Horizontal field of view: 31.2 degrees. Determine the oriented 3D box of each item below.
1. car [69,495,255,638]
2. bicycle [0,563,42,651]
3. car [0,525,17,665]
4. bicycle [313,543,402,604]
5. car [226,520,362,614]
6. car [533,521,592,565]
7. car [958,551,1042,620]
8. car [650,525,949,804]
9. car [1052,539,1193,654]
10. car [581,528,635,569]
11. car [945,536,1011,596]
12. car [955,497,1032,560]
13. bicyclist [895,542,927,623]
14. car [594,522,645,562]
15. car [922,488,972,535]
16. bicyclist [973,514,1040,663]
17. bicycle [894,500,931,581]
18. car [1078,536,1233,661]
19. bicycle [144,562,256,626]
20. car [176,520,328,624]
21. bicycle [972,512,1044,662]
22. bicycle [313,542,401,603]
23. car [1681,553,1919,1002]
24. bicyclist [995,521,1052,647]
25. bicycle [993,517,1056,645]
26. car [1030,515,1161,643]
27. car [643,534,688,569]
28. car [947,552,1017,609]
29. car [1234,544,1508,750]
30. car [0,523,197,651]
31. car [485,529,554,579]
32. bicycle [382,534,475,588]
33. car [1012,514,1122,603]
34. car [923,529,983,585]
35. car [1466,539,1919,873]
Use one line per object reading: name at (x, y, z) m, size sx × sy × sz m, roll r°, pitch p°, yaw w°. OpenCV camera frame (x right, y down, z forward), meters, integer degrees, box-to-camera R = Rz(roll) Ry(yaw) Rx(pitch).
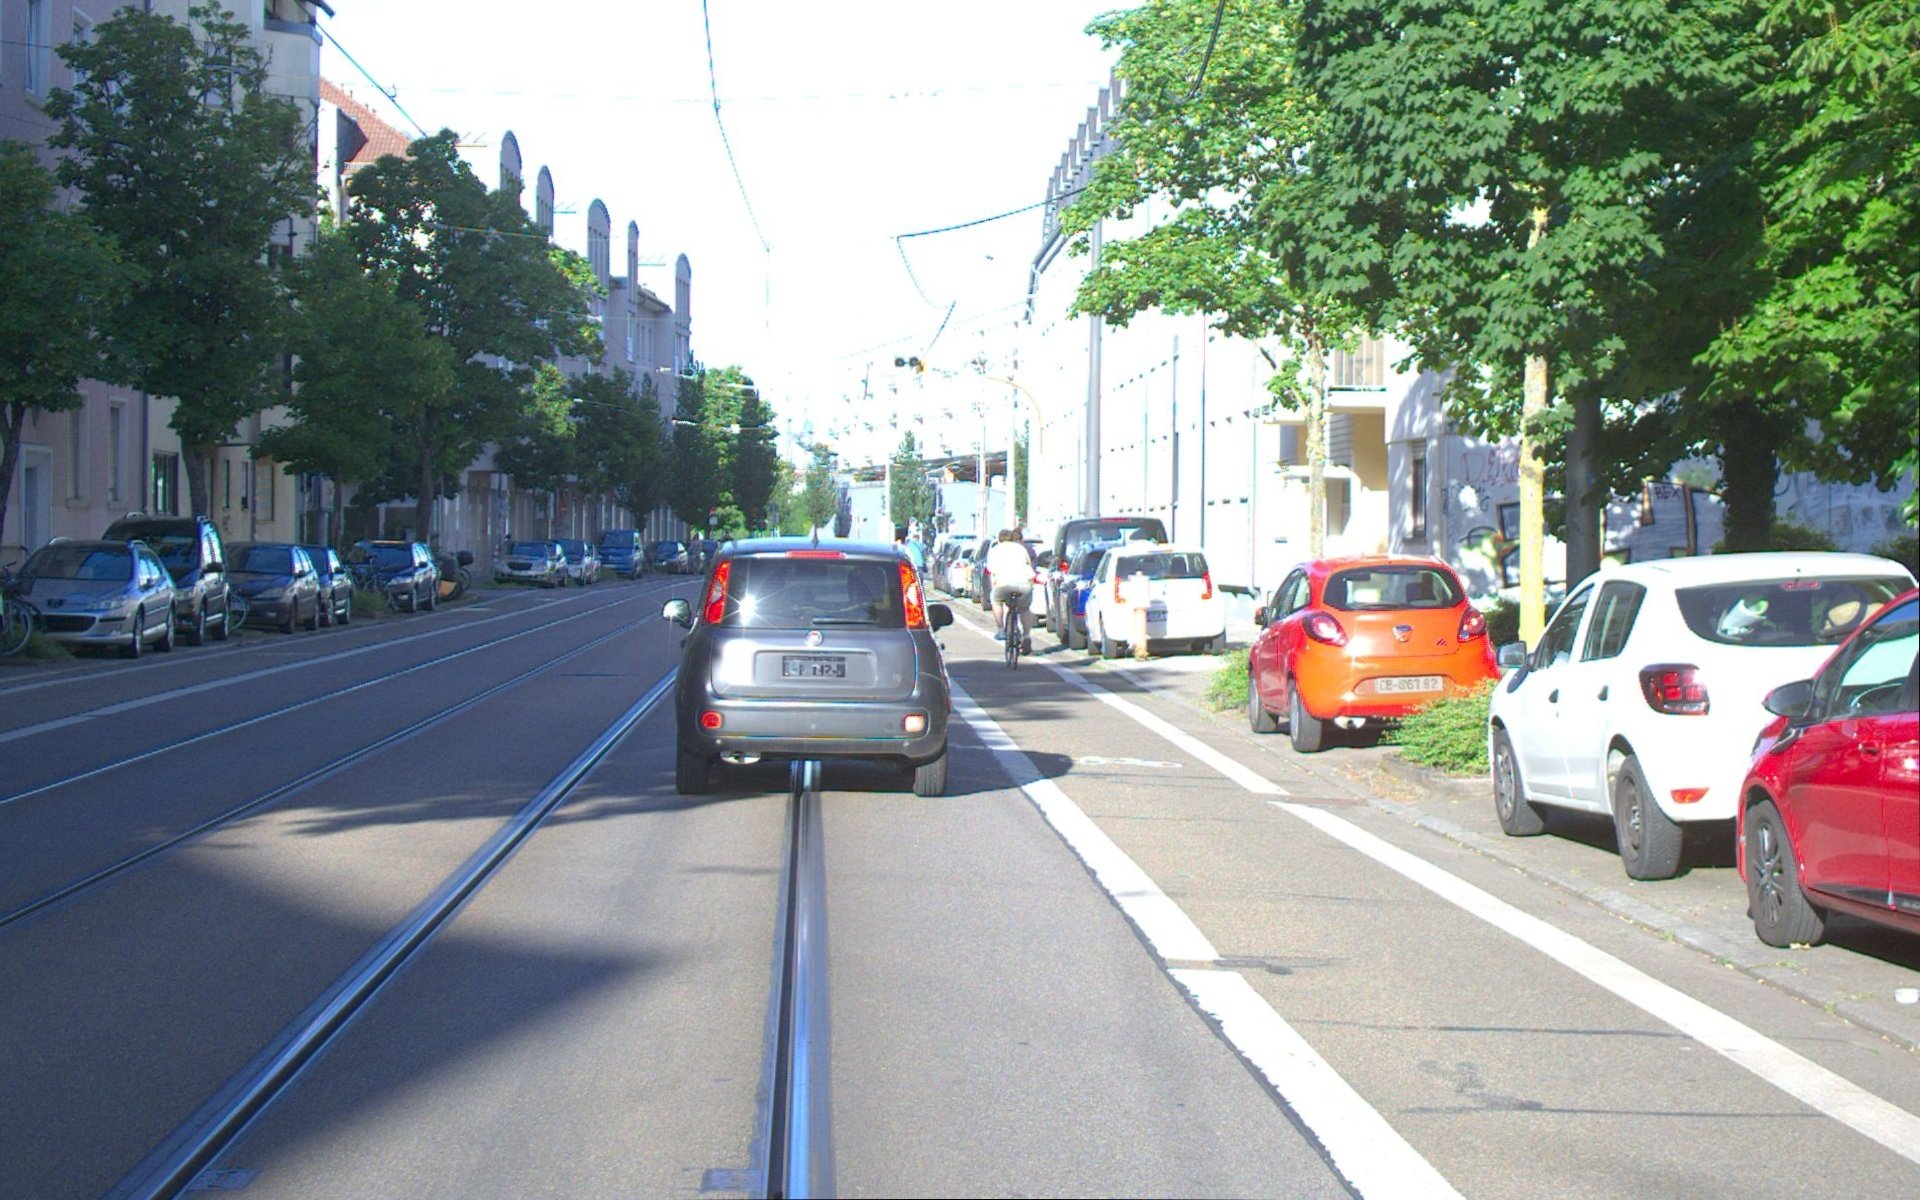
car at (-11.559, -0.512, 50.057) m, size 1.808 × 1.937 × 4.334 m, roll 2°, pitch 1°, yaw -2°
bicycle at (-11.529, 0.061, 39.747) m, size 1.666 × 0.998 × 0.476 m, roll 2°, pitch 1°, yaw 1°
car at (-11.146, -0.050, 35.472) m, size 1.808 × 1.503 × 4.192 m, roll 2°, pitch 1°, yaw -2°
bicycle at (-12.271, -0.543, 69.984) m, size 1.728 × 1.192 × 0.372 m, roll 2°, pitch 1°, yaw -6°
car at (-12.126, -0.623, 62.782) m, size 1.808 × 1.614 × 4.065 m, roll 2°, pitch 1°, yaw -2°
car at (-14.108, -2.027, 122.130) m, size 1.707 × 1.491 × 3.722 m, roll 2°, pitch 1°, yaw -1°
car at (0.861, -0.339, 76.456) m, size 1.583 × 1.400 × 3.377 m, roll -3°, pitch 1°, yaw -3°
car at (-1.018, 0.323, 21.633) m, size 1.650 × 1.536 × 4.235 m, roll 2°, pitch 1°, yaw -3°
car at (2.344, -0.086, 50.479) m, size 1.655 × 1.566 × 3.876 m, roll 2°, pitch 1°, yaw -3°
car at (-13.409, -1.986, 131.199) m, size 1.707 × 1.491 × 3.722 m, roll 2°, pitch 1°, yaw -1°
car at (0.492, -0.954, 95.244) m, size 1.583 × 1.593 × 3.377 m, roll 2°, pitch 1°, yaw -3°
car at (0.773, -1.704, 82.077) m, size 1.583 × 1.400 × 3.377 m, roll 2°, pitch 1°, yaw -3°
bicyclist at (-1.248, -0.451, 87.509) m, size 0.715 × 2.007 × 0.832 m, roll 2°, pitch 1°, yaw -3°
car at (-13.453, -2.298, 136.052) m, size 1.707 × 1.491 × 3.722 m, roll 2°, pitch 1°, yaw -1°
car at (-0.473, -3.147, 122.678) m, size 1.583 × 1.593 × 3.377 m, roll 2°, pitch 1°, yaw -3°
bicyclist at (0.558, -0.146, 41.480) m, size 0.699 × 1.753 × 0.758 m, roll 2°, pitch 1°, yaw -3°
bicycle at (-1.217, -1.515, 87.476) m, size 0.741 × 2.007 × 2.812 m, roll 2°, pitch 1°, yaw -3°
car at (2.581, -0.051, 46.053) m, size 1.655 × 1.566 × 3.499 m, roll 2°, pitch 1°, yaw -3°
bicycle at (-11.831, -0.091, 53.547) m, size 1.631 × 0.934 × 0.517 m, roll 2°, pitch 1°, yaw -6°
car at (-11.774, -0.484, 57.407) m, size 1.808 × 1.614 × 4.065 m, roll 2°, pitch 1°, yaw -2°
bicycle at (0.568, -0.171, 41.468) m, size 0.675 × 1.741 × 2.158 m, roll 2°, pitch 1°, yaw -3°
bicycle at (-12.338, -0.567, 70.377) m, size 1.728 × 1.192 × 0.372 m, roll 2°, pitch 1°, yaw -6°
car at (4.062, 0.594, 12.605) m, size 1.688 × 1.525 × 4.001 m, roll -1°, pitch 1°, yaw -5°
bicyclist at (0.894, -0.227, 48.709) m, size 0.699 × 1.753 × 0.758 m, roll 2°, pitch 1°, yaw -3°
bicycle at (0.904, -0.282, 48.673) m, size 0.675 × 1.741 × 2.158 m, roll 2°, pitch 1°, yaw -3°
car at (2.166, -0.371, 55.896) m, size 1.655 × 1.937 × 4.665 m, roll 2°, pitch 1°, yaw -3°
car at (-12.983, -2.149, 151.874) m, size 1.707 × 1.491 × 3.722 m, roll 2°, pitch 1°, yaw -1°
car at (0.564, -0.523, 90.712) m, size 1.583 × 1.400 × 3.377 m, roll 2°, pitch 1°, yaw -3°
car at (3.240, 0.329, 27.660) m, size 1.635 × 1.503 × 3.397 m, roll -2°, pitch 1°, yaw -2°
car at (-11.180, -0.203, 44.278) m, size 1.808 × 1.503 × 4.681 m, roll 2°, pitch 1°, yaw -2°
car at (-13.768, -1.449, 107.606) m, size 1.707 × 1.491 × 3.722 m, roll 2°, pitch 1°, yaw -1°
bicycle at (-13.502, -0.987, 87.324) m, size 2.275 × 1.284 × 0.758 m, roll 2°, pitch 1°, yaw -7°
car at (1.870, -0.748, 60.977) m, size 1.655 × 1.495 × 3.130 m, roll 2°, pitch 1°, yaw -3°
car at (-0.226, -1.311, 103.233) m, size 1.583 × 1.593 × 3.377 m, roll 2°, pitch 1°, yaw -3°
car at (3.877, 0.458, 17.896) m, size 1.688 × 1.525 × 4.001 m, roll -1°, pitch 1°, yaw -3°
